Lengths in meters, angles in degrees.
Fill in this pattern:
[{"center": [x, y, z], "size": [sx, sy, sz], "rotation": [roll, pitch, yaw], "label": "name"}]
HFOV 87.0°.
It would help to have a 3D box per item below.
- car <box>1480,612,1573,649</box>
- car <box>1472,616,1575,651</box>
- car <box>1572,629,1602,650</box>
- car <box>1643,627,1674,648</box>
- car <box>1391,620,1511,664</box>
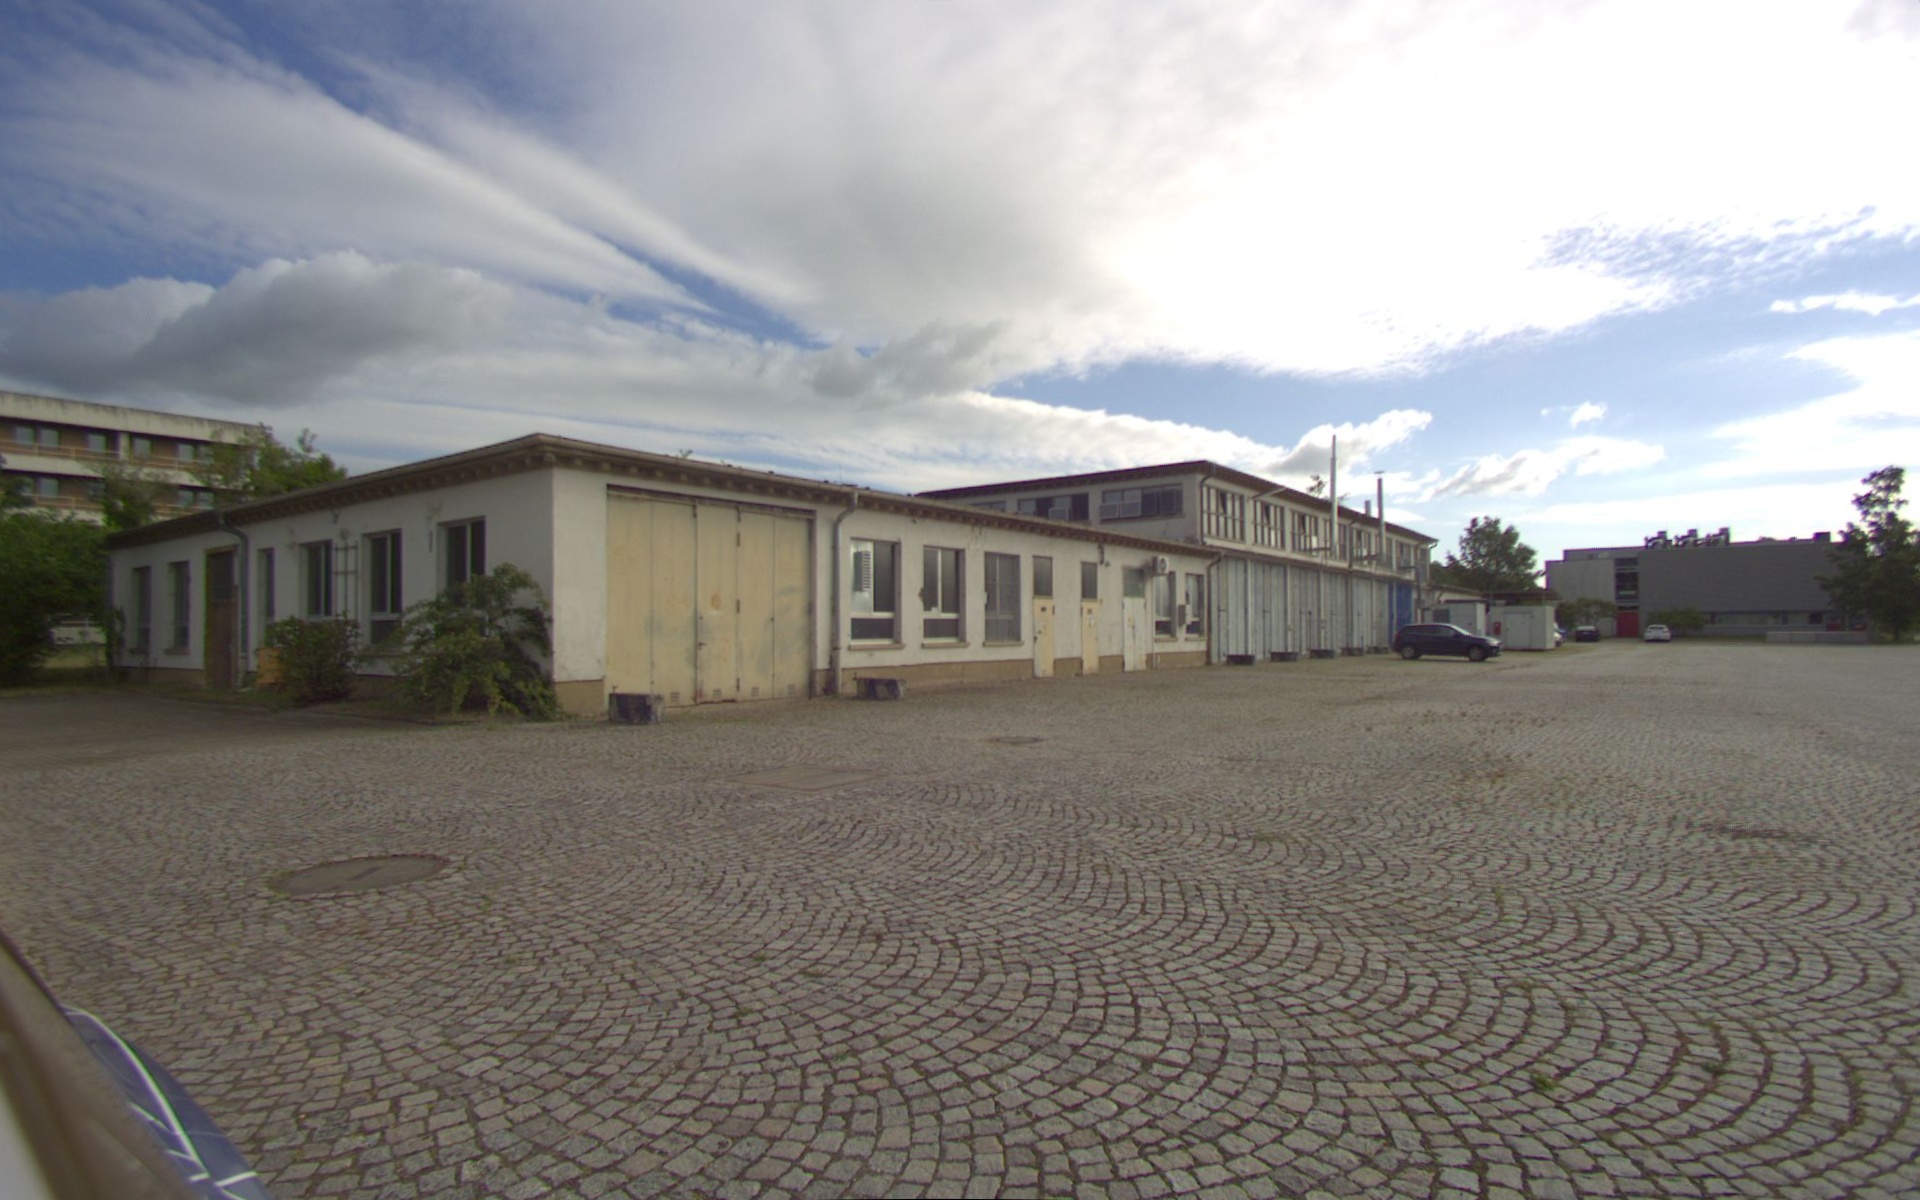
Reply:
[{"center": [41.306, 2.258, 73.862], "size": [5.619, 2.635, 2.422], "rotation": [-2, -3, 36], "label": "car"}, {"center": [36.973, 2.214, 66.471], "size": [5.619, 2.236, 2.422], "rotation": [-2, -3, 36], "label": "car"}, {"center": [56.408, 3.542, 90.999], "size": [1.996, 1.824, 3.951], "rotation": [-2, -3, 36], "label": "car"}, {"center": [60.894, 3.284, 88.205], "size": [2.150, 1.824, 3.951], "rotation": [-2, -3, 36], "label": "car"}, {"center": [21.286, 1.861, 43.964], "size": [4.427, 1.770, 1.975], "rotation": [-2, -5, 36], "label": "car"}]
